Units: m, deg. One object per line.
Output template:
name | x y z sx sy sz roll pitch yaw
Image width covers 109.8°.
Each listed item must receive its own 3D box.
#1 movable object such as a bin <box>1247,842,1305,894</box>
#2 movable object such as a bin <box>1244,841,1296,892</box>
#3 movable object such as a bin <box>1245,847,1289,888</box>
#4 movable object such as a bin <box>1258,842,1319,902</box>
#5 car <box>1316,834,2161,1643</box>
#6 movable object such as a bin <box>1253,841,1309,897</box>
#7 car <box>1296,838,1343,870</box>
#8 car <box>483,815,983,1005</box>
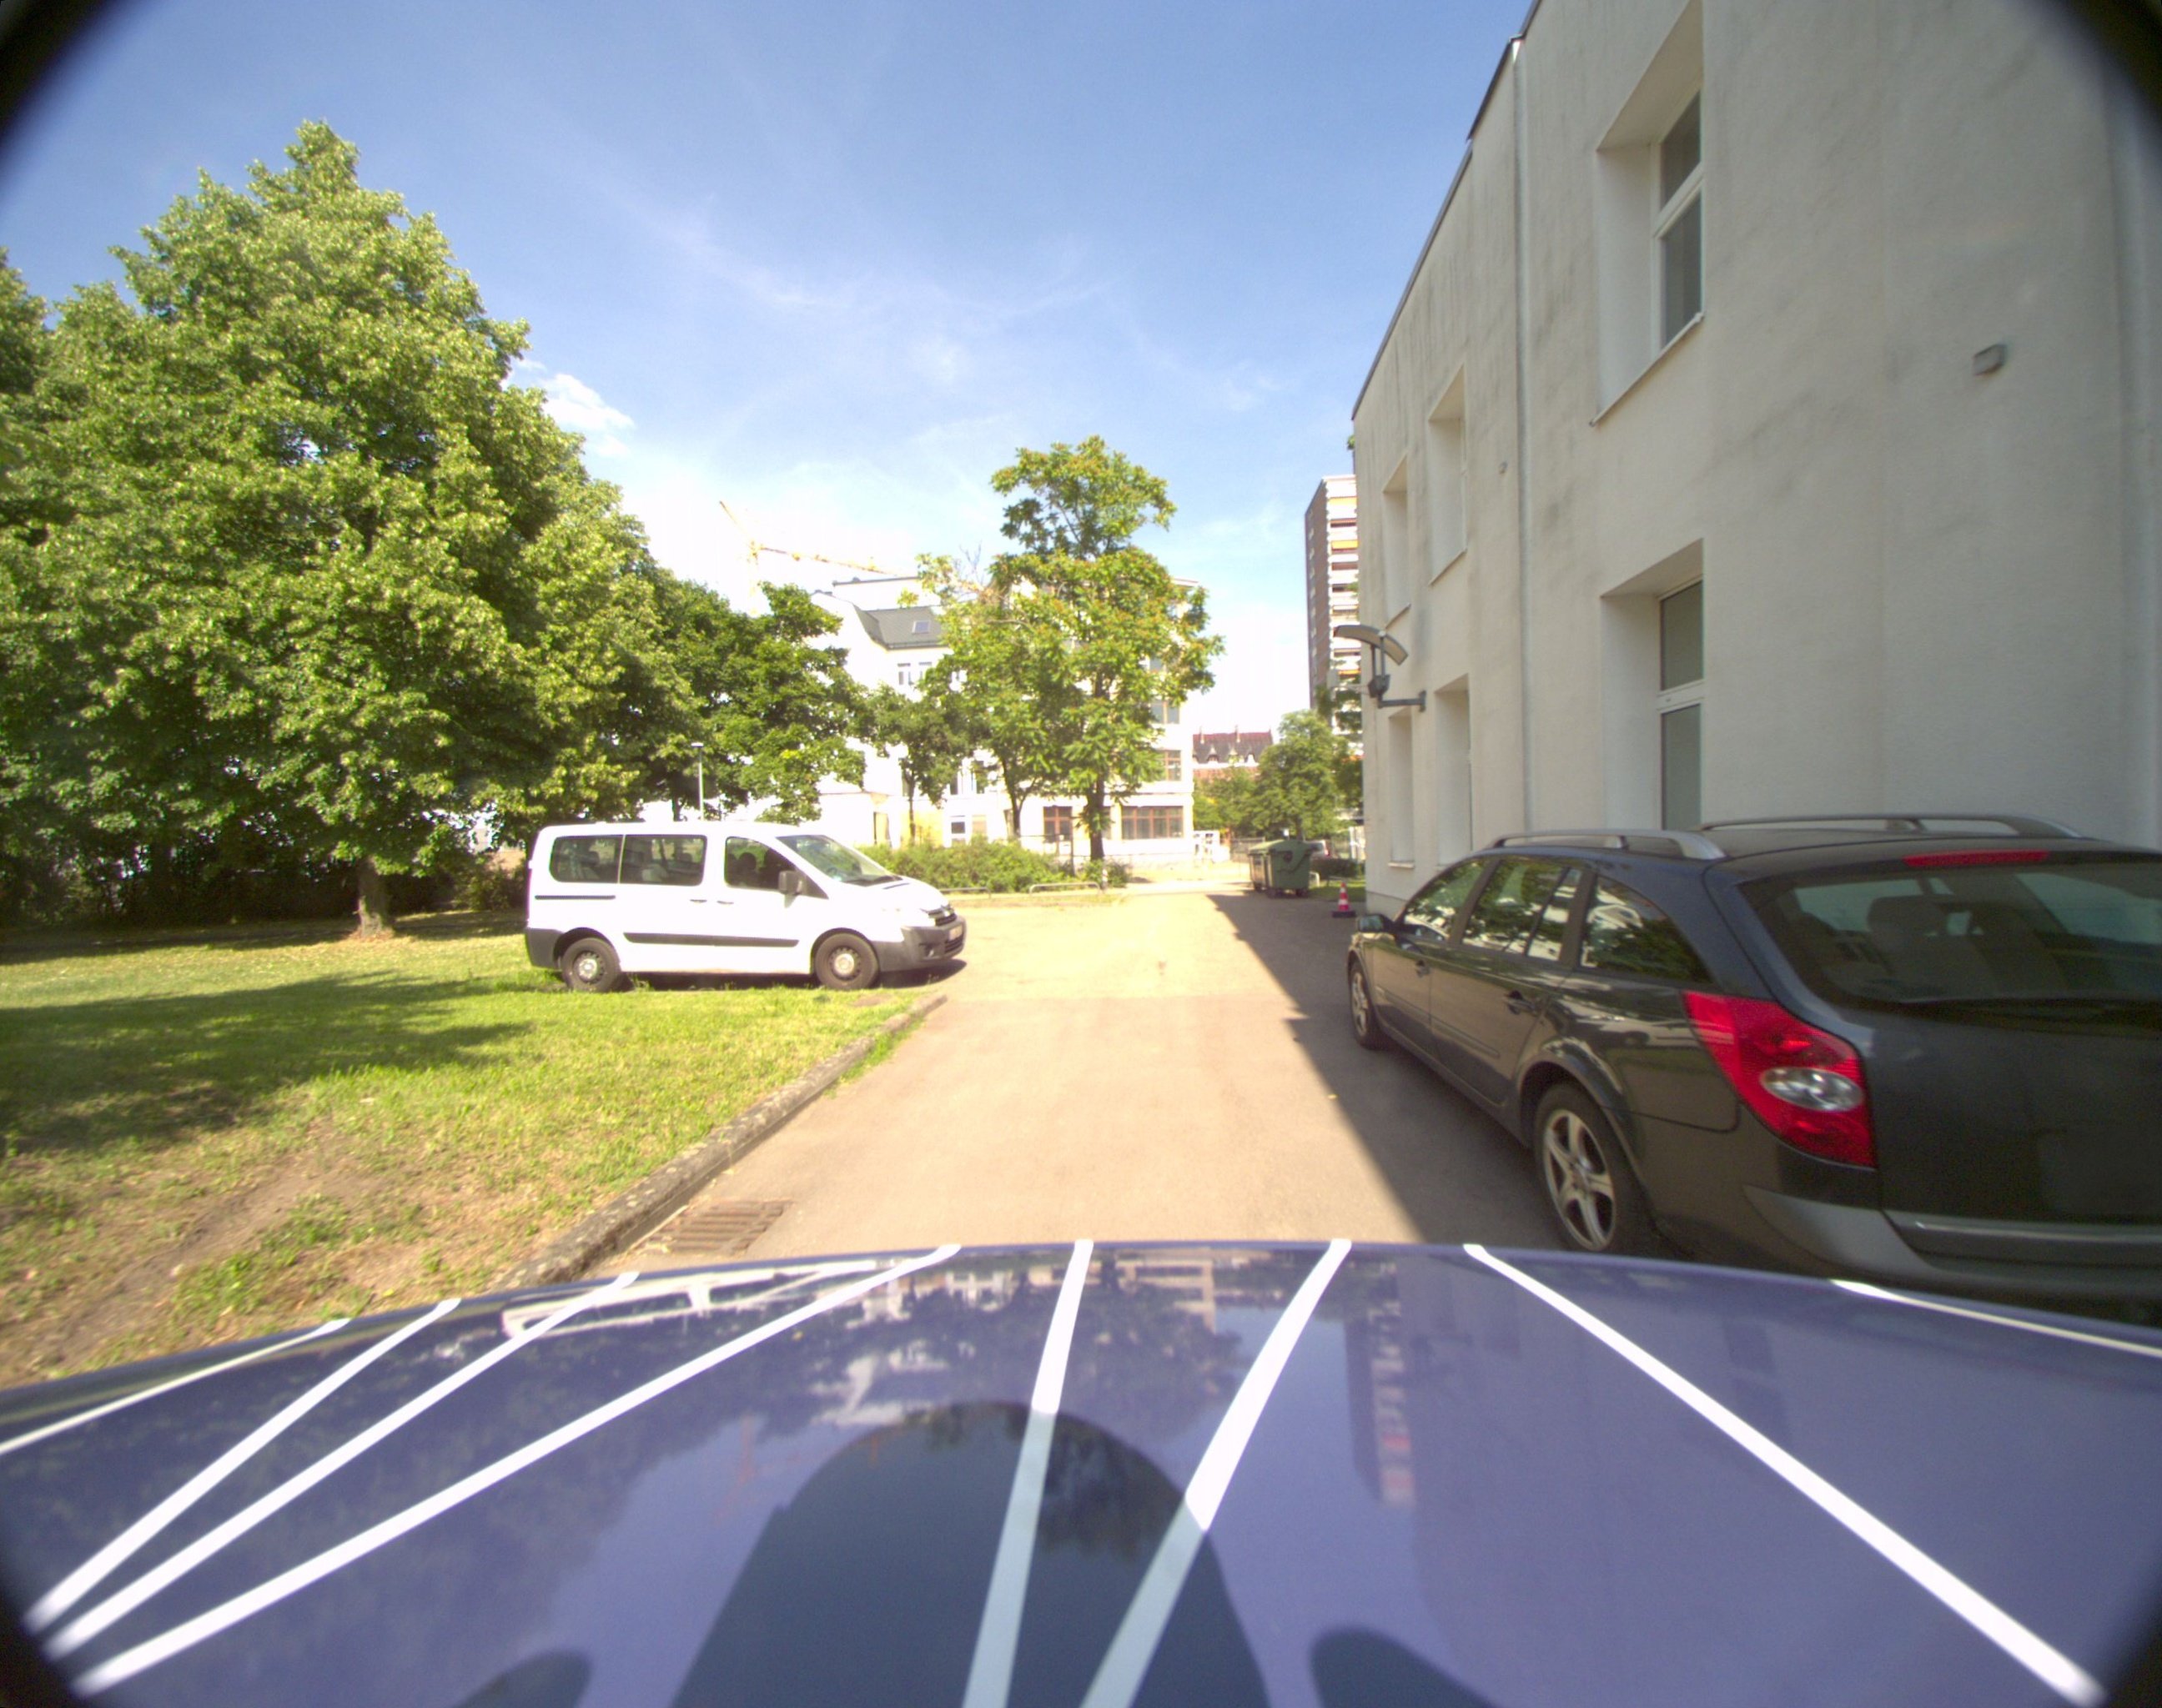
movable object such as a bin | 5.578 0.383 21.836 1.248 1.423 1.223 -1 1 -5
movable object such as a bin | 5.760 0.360 23.232 1.247 1.473 1.339 -1 1 1
movable object such as a bin | 6.555 0.454 26.773 1.245 1.389 1.406 -1 1 24
movable object such as a bin | 5.145 0.425 18.966 1.247 1.423 1.350 -1 1 6
car | 2.563 0.722 3.633 1.841 1.434 4.430 -4 2 6
movable object such as a bin | 5.356 0.389 20.463 1.247 1.423 1.366 -1 1 6
car | 14.674 -0.043 46.613 1.917 1.770 4.320 -3 0 28
car | -3.905 0.624 9.015 5.033 1.922 2.001 -2 1 8
